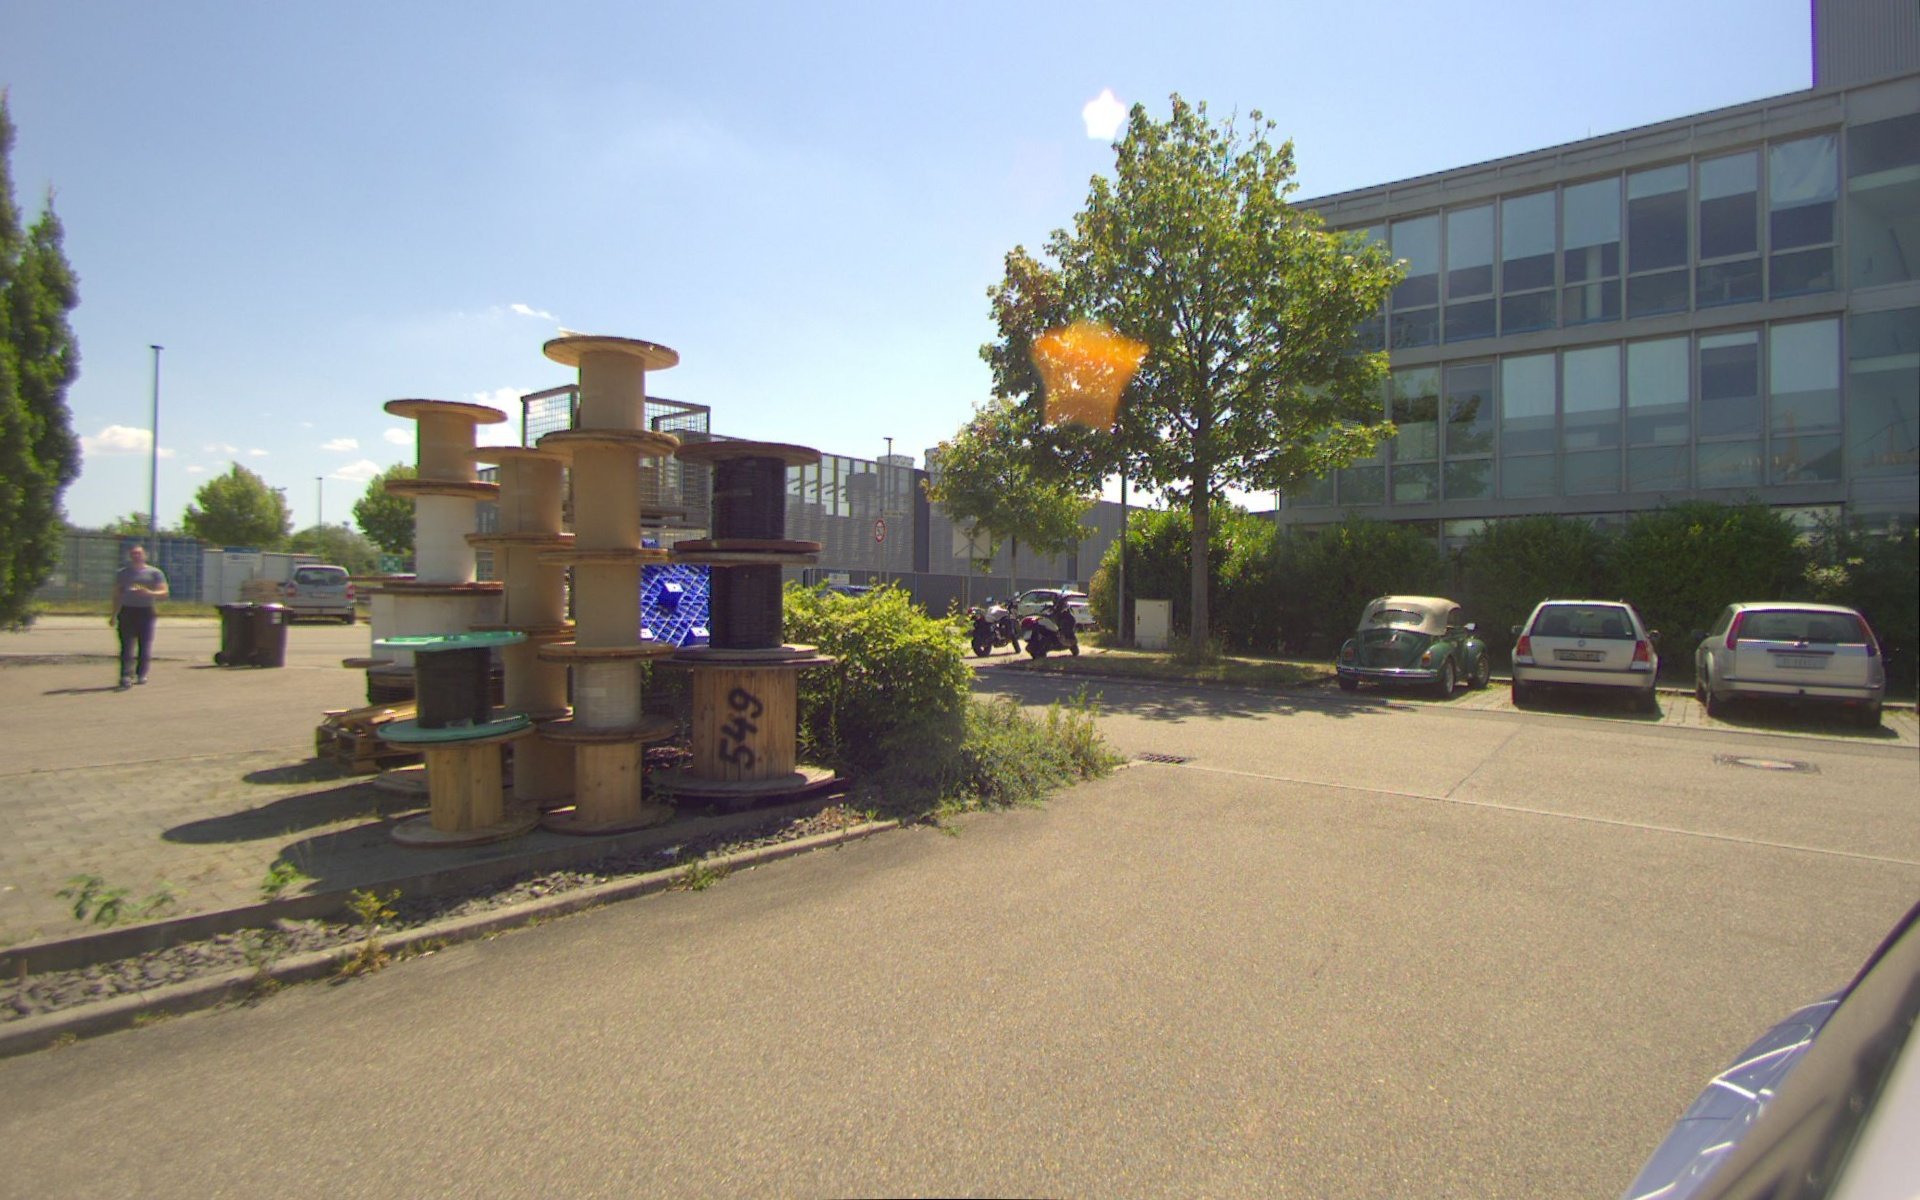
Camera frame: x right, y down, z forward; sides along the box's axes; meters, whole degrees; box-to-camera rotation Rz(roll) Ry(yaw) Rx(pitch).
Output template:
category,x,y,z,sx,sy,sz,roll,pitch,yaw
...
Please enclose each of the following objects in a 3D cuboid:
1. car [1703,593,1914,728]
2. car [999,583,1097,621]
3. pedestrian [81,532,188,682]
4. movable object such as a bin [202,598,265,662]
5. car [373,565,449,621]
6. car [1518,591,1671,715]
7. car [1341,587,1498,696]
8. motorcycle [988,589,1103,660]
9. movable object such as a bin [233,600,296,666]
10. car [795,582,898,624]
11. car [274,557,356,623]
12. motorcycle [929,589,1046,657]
category,x,y,z,sx,sy,sz,roll,pitch,yaw
car,11.109,0.681,13.500,1.720,1.470,3.557,2,2,34
car,3.648,0.047,42.627,1.746,1.494,4.417,1,1,-33
pedestrian,-10.203,0.081,12.539,0.792,1.791,0.770,1,0,-19
movable object such as a bin,-10.934,0.439,15.235,0.577,0.929,0.545,1,1,17
car,-16.252,-0.232,29.881,1.814,1.515,4.004,1,1,-31
car,9.077,0.637,14.464,1.632,1.470,3.557,2,2,34
car,7.249,0.556,15.829,1.514,1.463,3.373,2,2,37
motorcycle,1.736,0.437,19.999,0.870,1.275,2.796,1,1,39
movable object such as a bin,-10.325,0.476,15.033,0.577,0.929,0.545,1,1,17
car,-4.236,0.070,37.114,1.824,1.427,4.446,0,0,-36
car,-18.158,-0.303,28.649,1.814,1.727,4.004,1,1,-31
motorcycle,0.606,0.419,20.712,0.870,1.275,2.796,1,1,39
